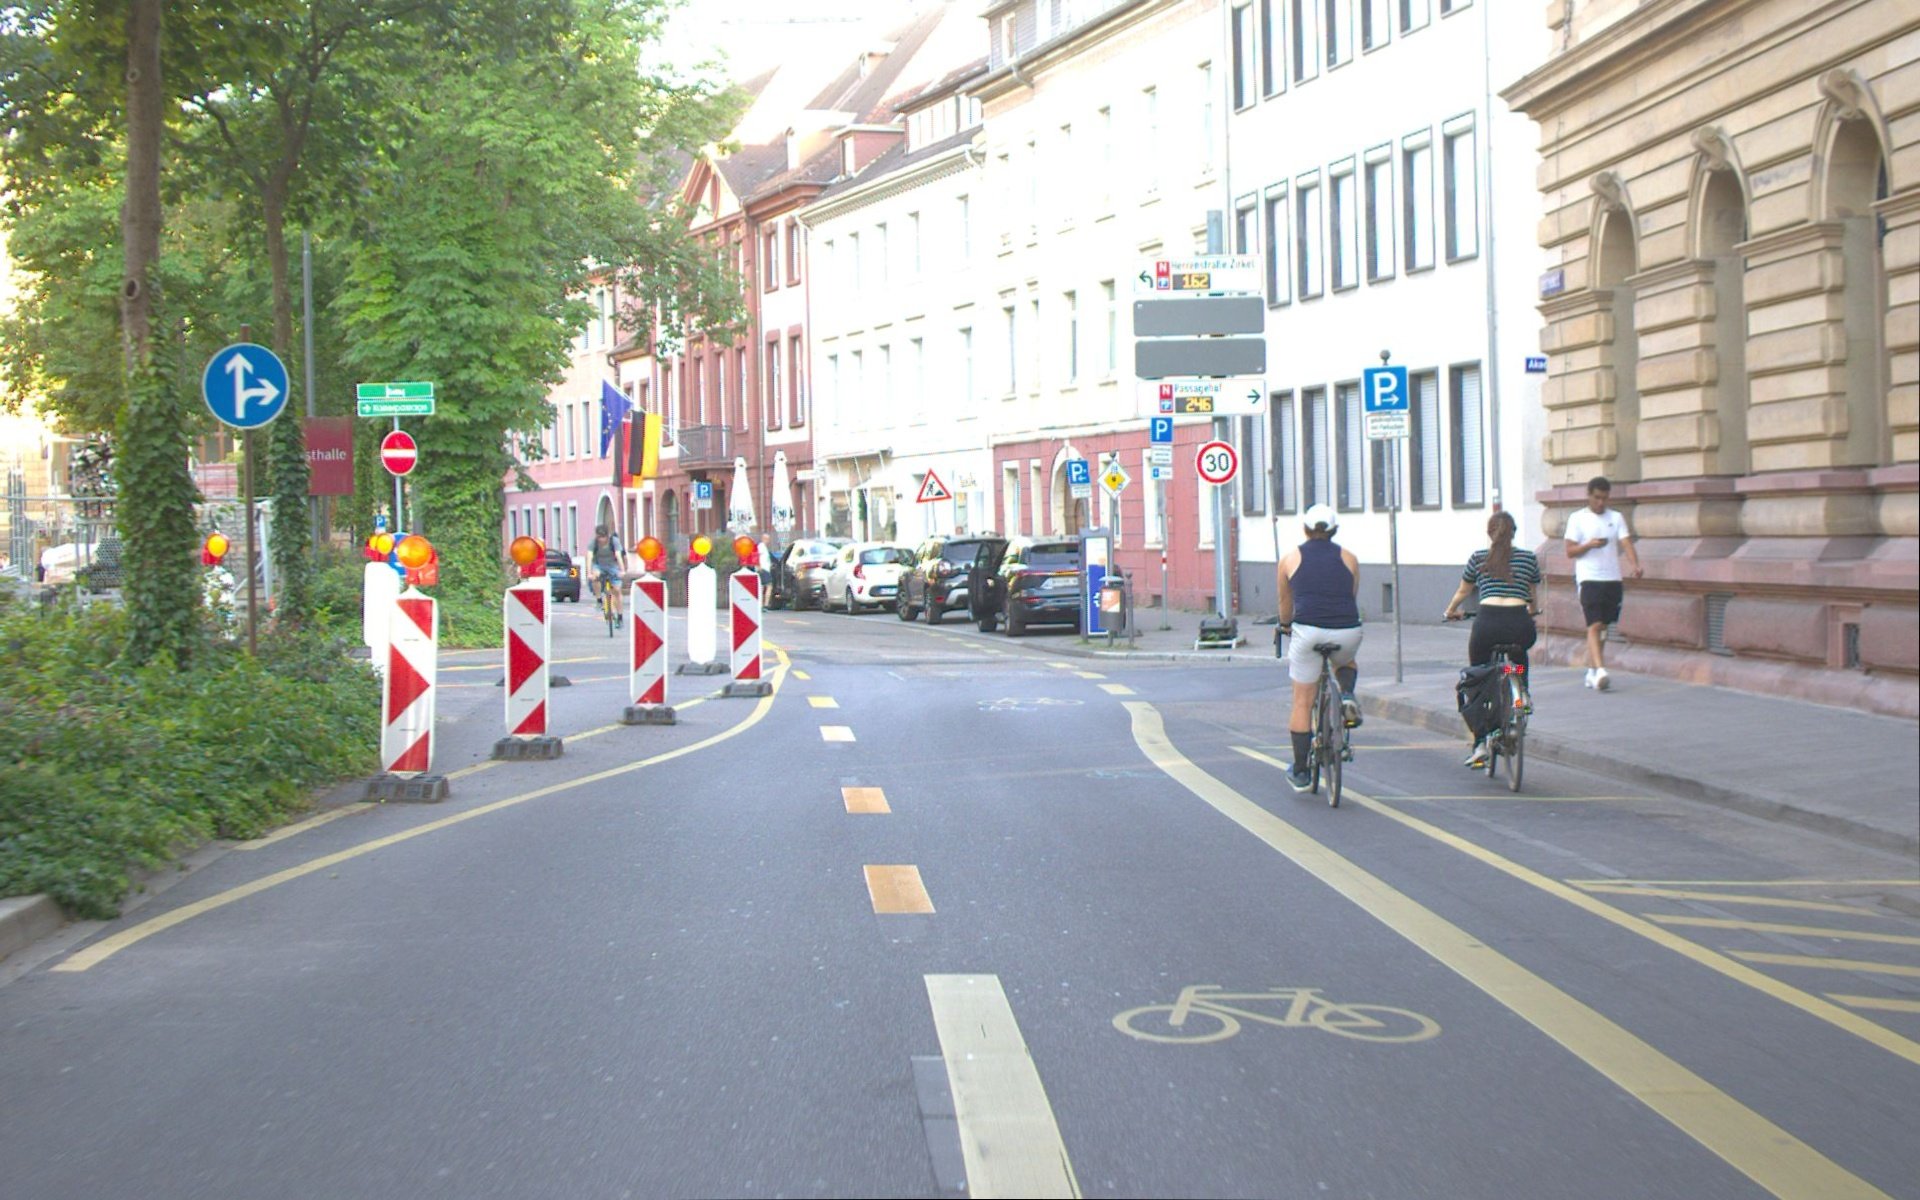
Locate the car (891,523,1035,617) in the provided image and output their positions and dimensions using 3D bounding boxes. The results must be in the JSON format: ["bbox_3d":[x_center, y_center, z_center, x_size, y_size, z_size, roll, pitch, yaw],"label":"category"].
[{"bbox_3d":[0.023,-0.580,64.542,1.812,1.678,4.001,-1,1,-13],"label":"car"}]

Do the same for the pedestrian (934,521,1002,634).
[{"bbox_3d":[0.128,-0.378,57.239,0.900,1.859,0.932,-1,1,-14],"label":"pedestrian"}]

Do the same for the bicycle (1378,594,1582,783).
[{"bbox_3d":[3.198,0.518,21.352,0.652,1.067,2.258,1,1,-7],"label":"bicycle"}]

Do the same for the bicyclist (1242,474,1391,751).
[{"bbox_3d":[2.046,0.067,19.792,0.668,1.560,0.699,1,1,-9],"label":"bicyclist"}]

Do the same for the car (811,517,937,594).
[{"bbox_3d":[-1.838,-0.944,72.436,1.812,1.554,3.866,-1,1,-14],"label":"car"}]

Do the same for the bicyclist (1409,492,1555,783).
[{"bbox_3d":[3.209,0.219,21.206,0.649,1.754,0.864,1,1,-7],"label":"bicyclist"}]

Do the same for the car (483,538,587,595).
[{"bbox_3d":[-12.001,-0.944,96.940,1.812,1.554,3.866,-1,1,-24],"label":"car"}]

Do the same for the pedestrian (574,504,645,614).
[{"bbox_3d":[-5.378,-0.628,52.821,0.736,1.668,0.894,-1,1,20],"label":"pedestrian"}]

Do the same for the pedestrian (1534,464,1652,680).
[{"bbox_3d":[5.260,-0.242,28.615,0.817,1.759,1.038,0,2,2],"label":"pedestrian"}]

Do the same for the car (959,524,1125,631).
[{"bbox_3d":[1.309,-0.388,56.629,1.812,1.676,3.920,-1,1,-13],"label":"car"}]

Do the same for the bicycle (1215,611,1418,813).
[{"bbox_3d":[2.031,0.620,19.848,0.669,1.067,1.902,0,1,-10],"label":"bicycle"}]

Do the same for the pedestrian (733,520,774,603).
[{"bbox_3d":[-4.605,-0.876,76.816,0.831,1.838,0.958,0,1,2],"label":"pedestrian"}]

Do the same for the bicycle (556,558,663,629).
[{"bbox_3d":[-5.372,-0.115,52.841,0.761,1.034,2.119,-1,1,20],"label":"bicycle"}]

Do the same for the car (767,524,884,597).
[{"bbox_3d":[-3.036,-0.889,76.888,1.812,1.554,3.866,-1,1,-14],"label":"car"}]
